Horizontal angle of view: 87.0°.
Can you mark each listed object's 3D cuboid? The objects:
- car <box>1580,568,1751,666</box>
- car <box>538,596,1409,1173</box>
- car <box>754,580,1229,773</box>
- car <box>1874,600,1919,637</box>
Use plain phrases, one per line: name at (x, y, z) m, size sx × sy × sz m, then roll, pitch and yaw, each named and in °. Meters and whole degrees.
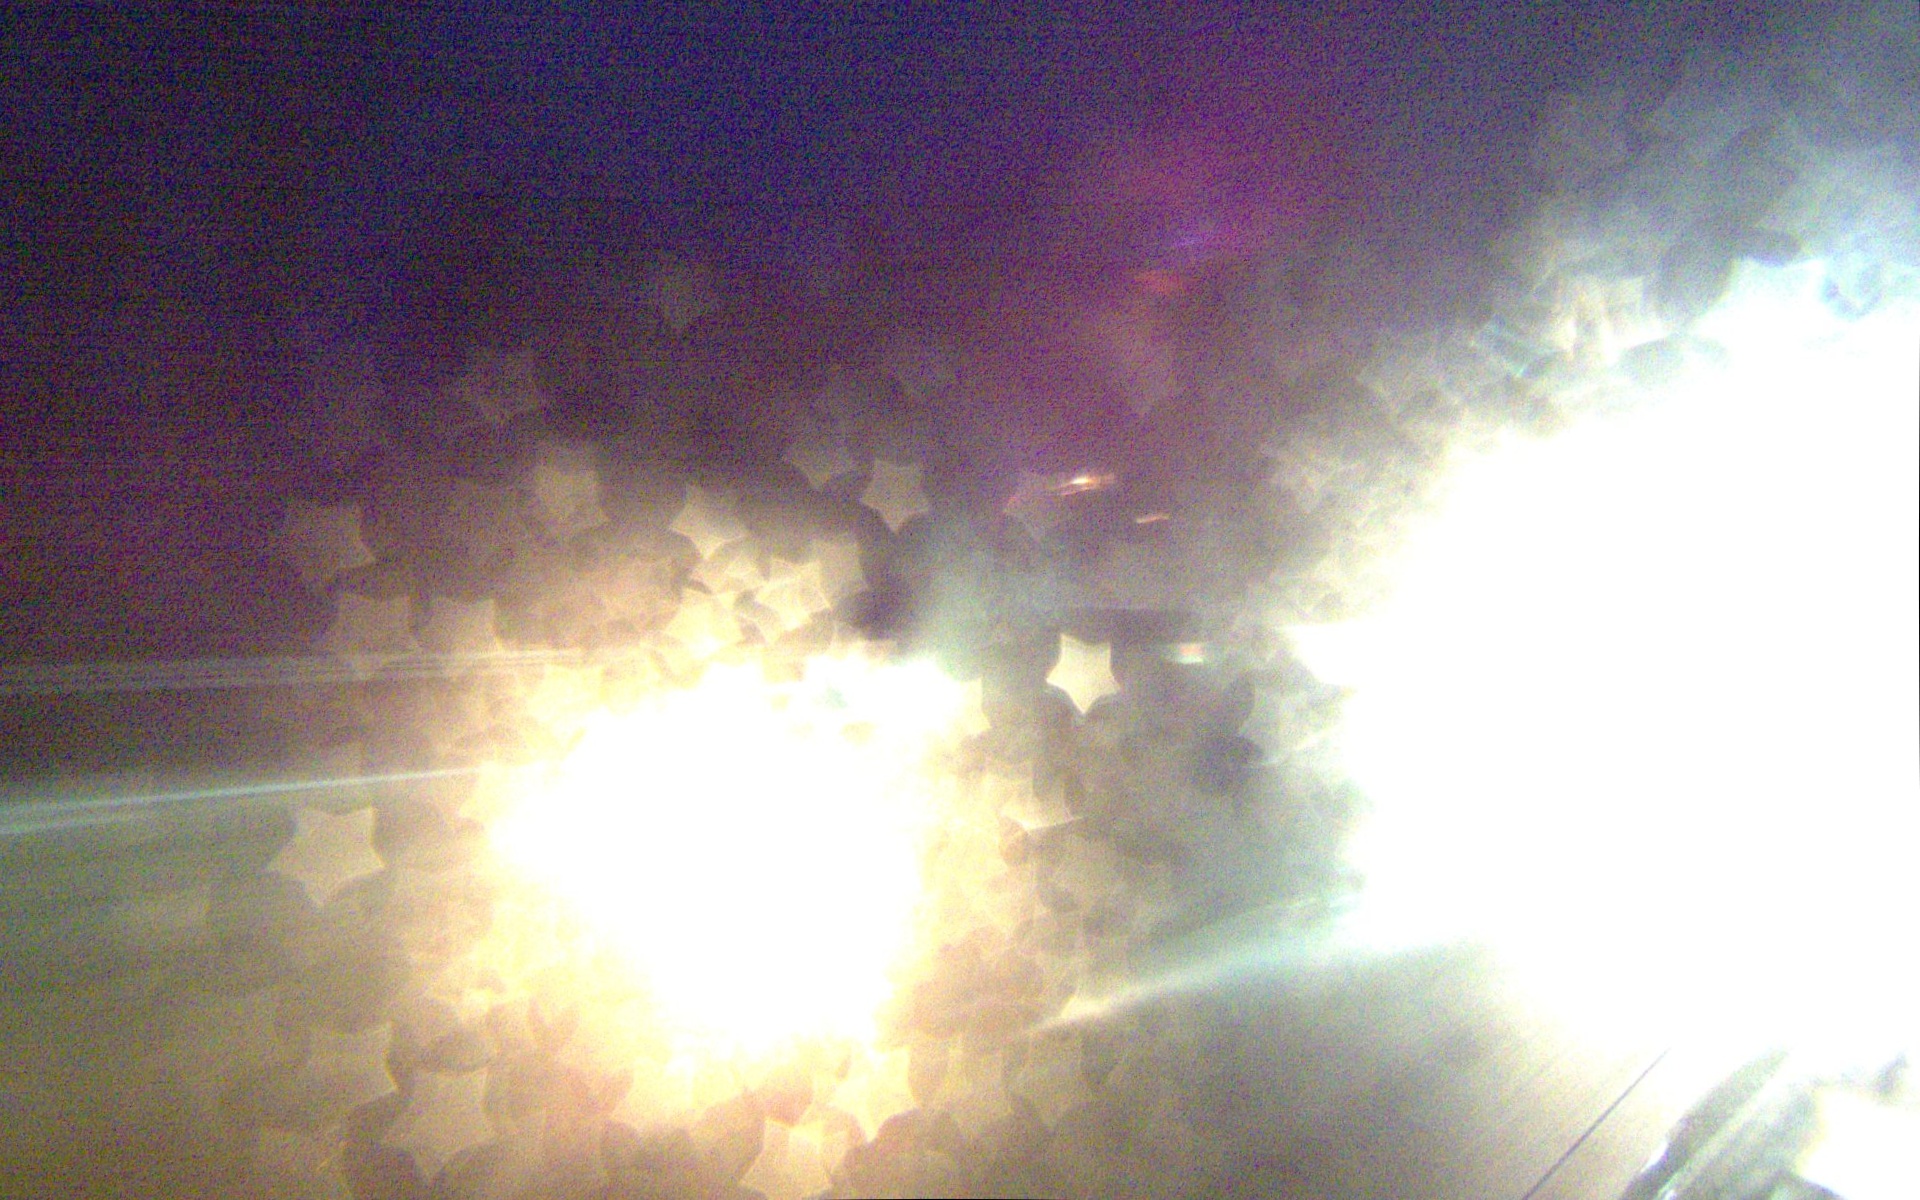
car at (16.145, 0.322, 23.028) m, size 5.314 × 1.999 × 2.049 m, roll 0°, pitch 1°, yaw -42°
car at (0.338, 0.711, 4.419) m, size 3.727 × 1.430 × 1.614 m, roll -1°, pitch 1°, yaw -42°
car at (0.538, 0.602, 10.241) m, size 4.876 × 1.505 × 1.896 m, roll 0°, pitch 0°, yaw -42°
car at (41.193, 0.777, 43.870) m, size 5.272 × 1.498 × 1.746 m, roll 0°, pitch 0°, yaw -41°
